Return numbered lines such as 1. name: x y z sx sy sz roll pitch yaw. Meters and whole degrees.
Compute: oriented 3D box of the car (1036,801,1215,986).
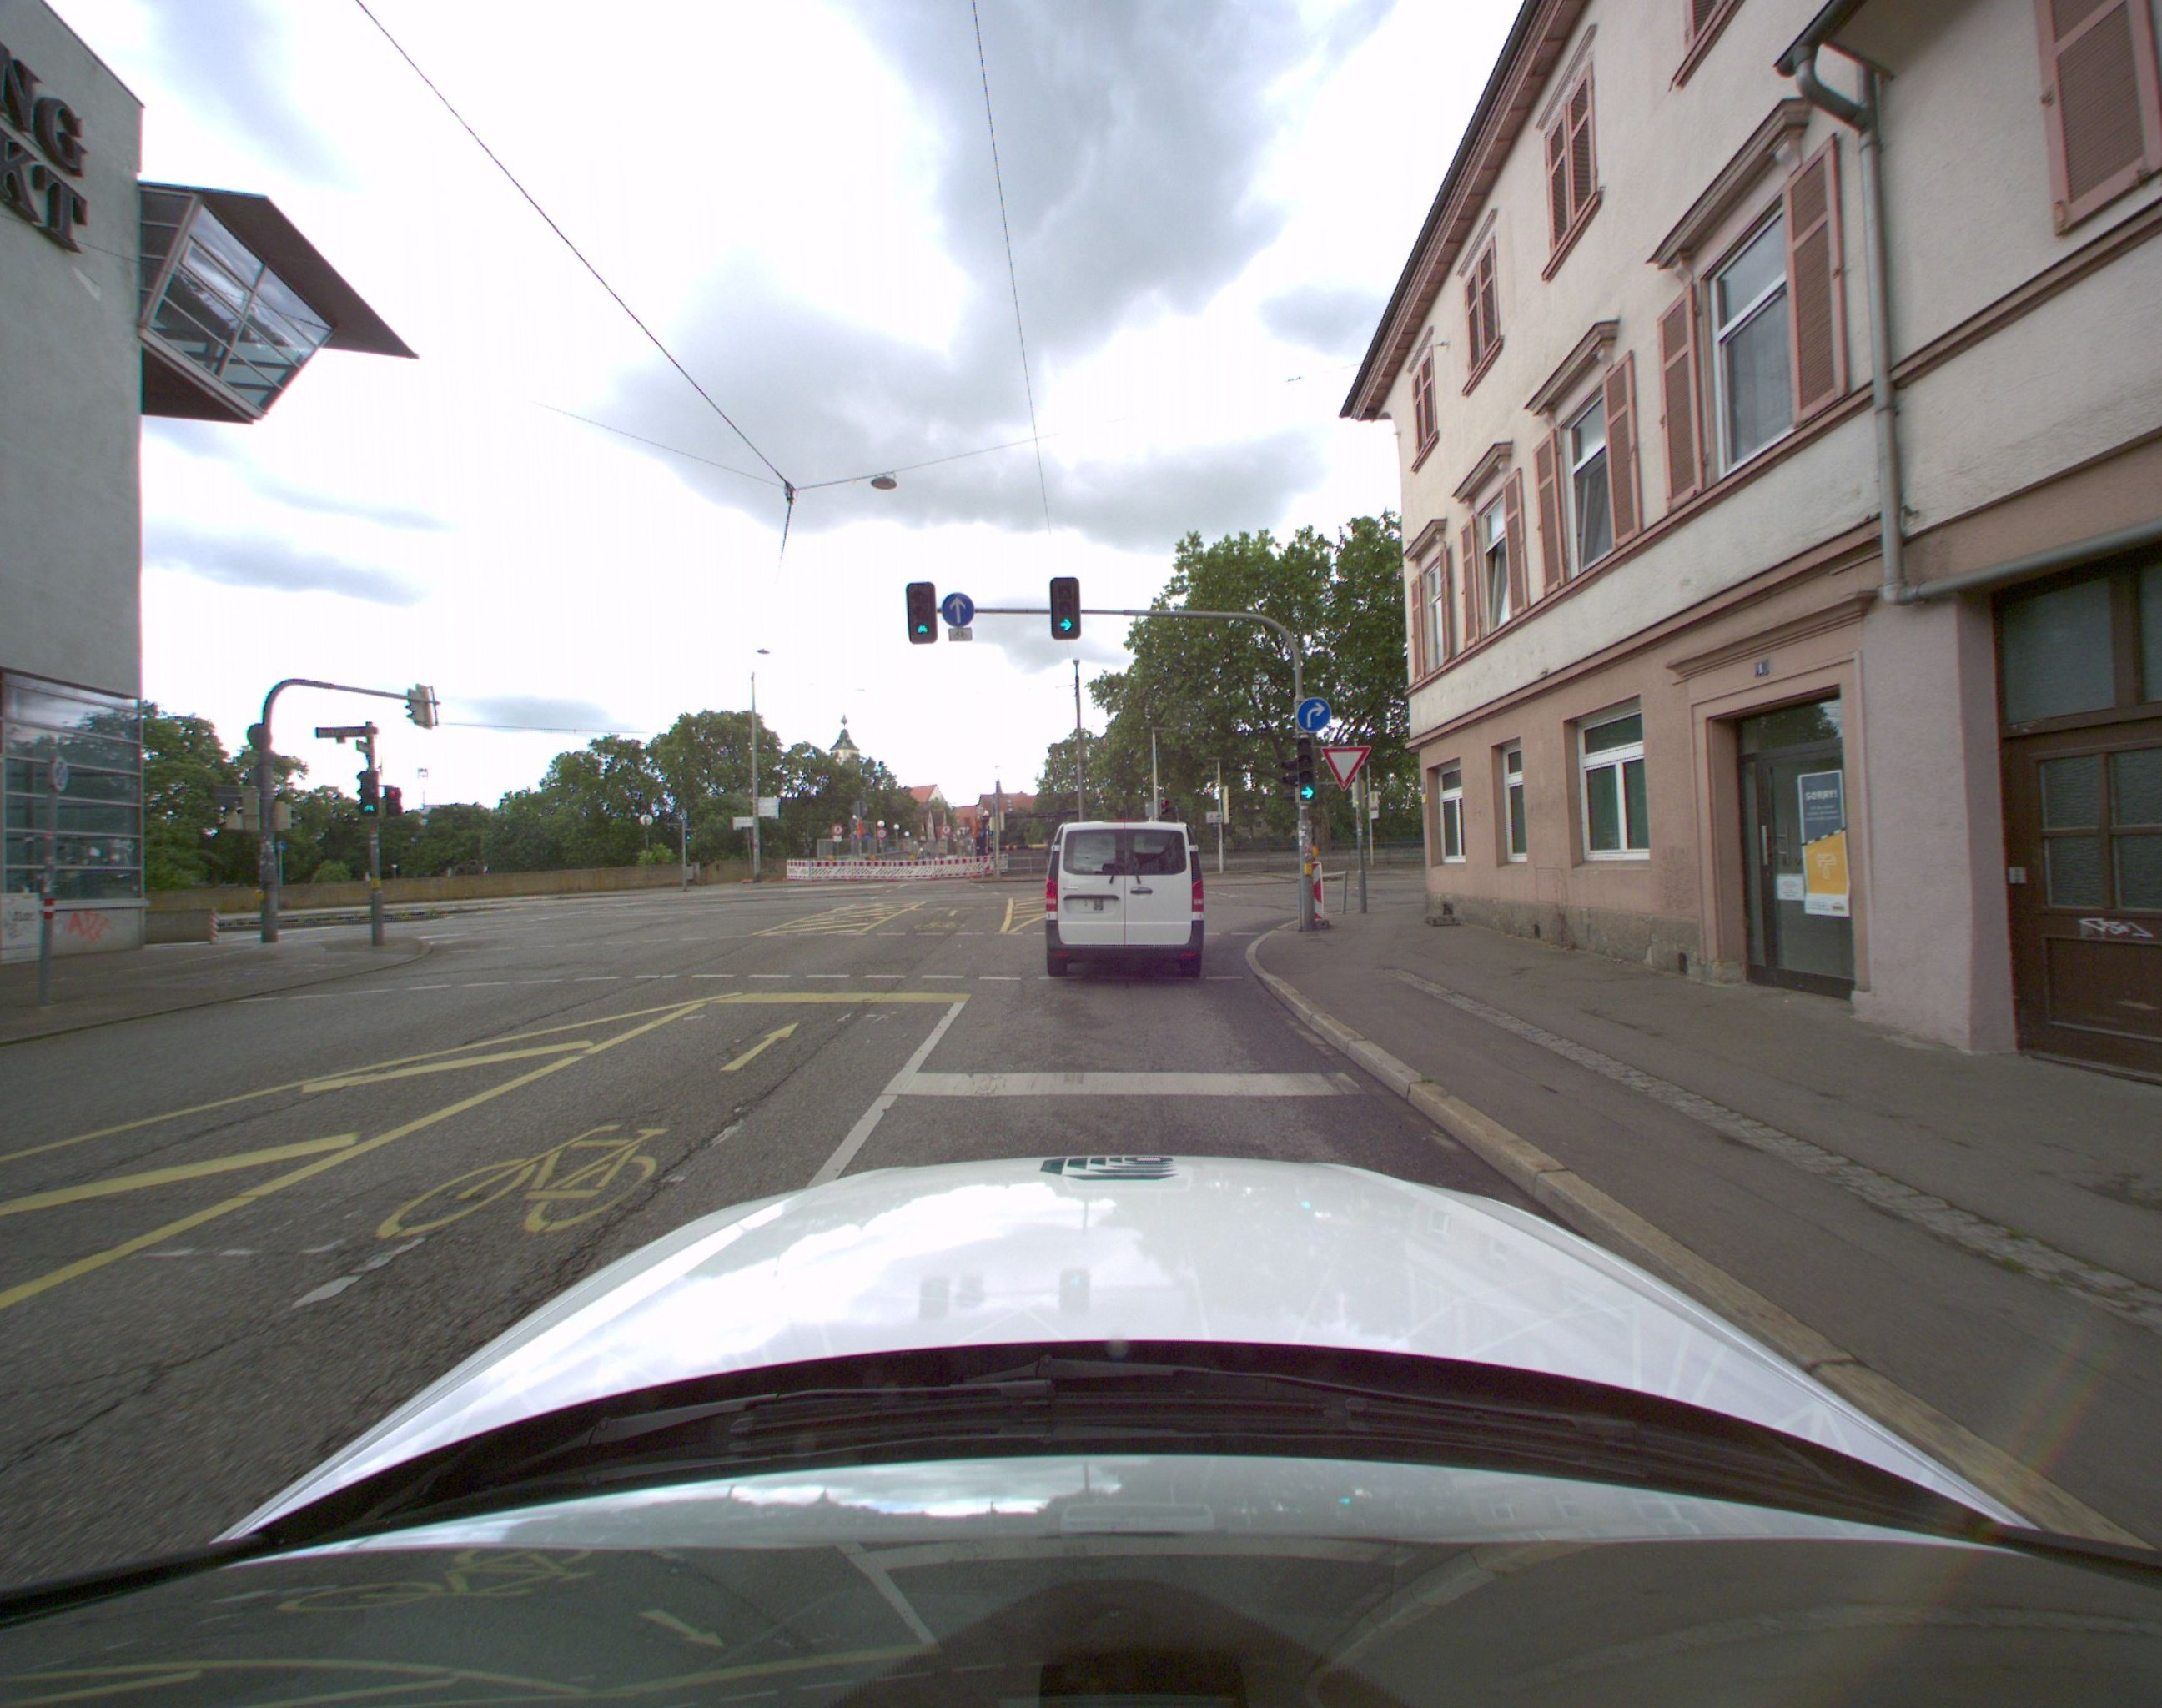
1. car: 0.566 0.413 11.323 1.943 2.013 4.700 -1 0 2
